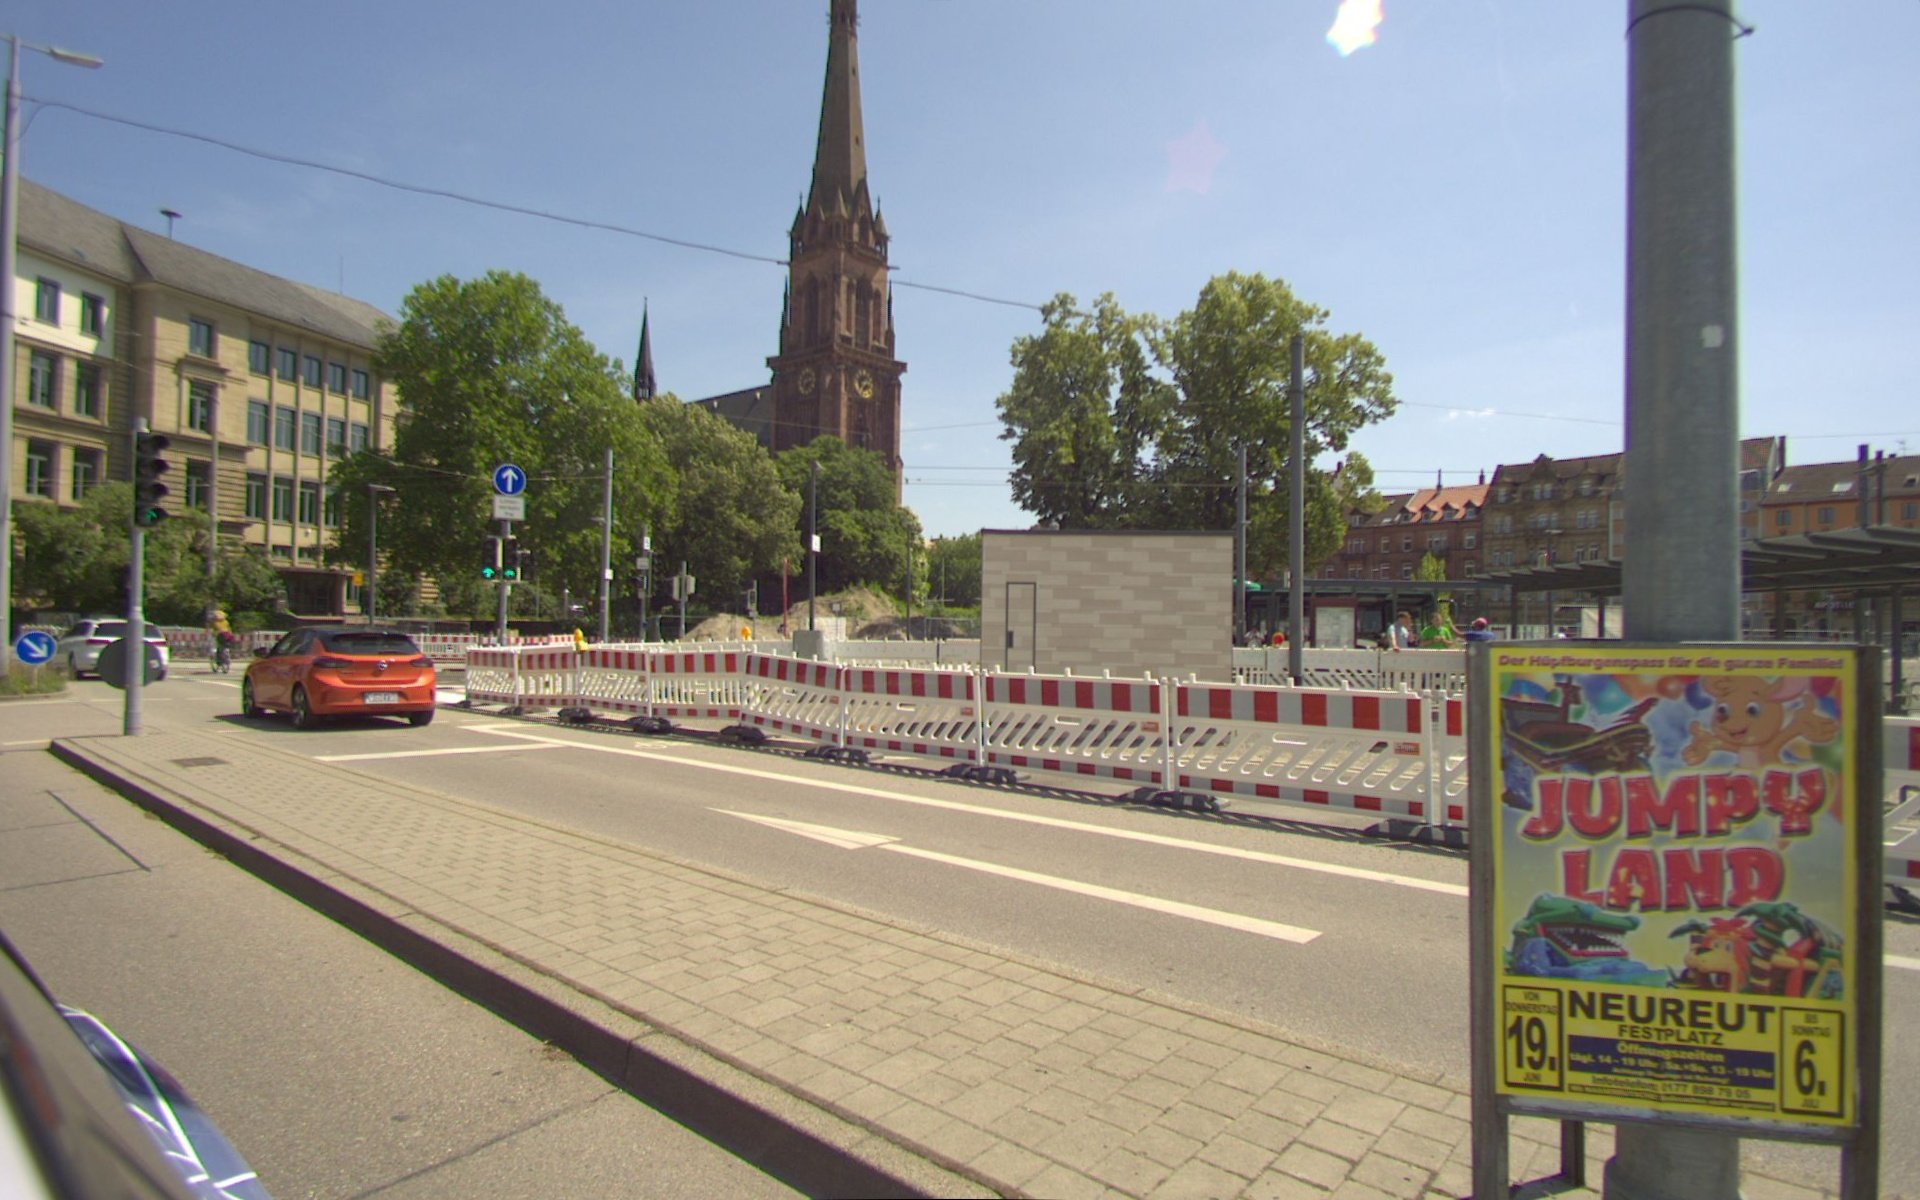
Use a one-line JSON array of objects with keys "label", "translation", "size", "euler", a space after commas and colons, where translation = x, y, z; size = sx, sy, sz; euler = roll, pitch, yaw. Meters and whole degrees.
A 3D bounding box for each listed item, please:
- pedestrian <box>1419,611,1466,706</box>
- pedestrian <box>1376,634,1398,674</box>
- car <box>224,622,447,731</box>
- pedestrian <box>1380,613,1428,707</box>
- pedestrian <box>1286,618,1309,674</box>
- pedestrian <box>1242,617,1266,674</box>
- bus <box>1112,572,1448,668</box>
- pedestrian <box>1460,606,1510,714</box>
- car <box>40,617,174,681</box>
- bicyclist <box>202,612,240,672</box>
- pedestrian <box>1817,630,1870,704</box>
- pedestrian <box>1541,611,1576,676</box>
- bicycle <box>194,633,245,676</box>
[{"label": "pedestrian", "translation": [9.399, 1.130, 19.739], "size": [0.630, 1.802, 0.644], "euler": [-1, 0, 5]}, {"label": "pedestrian", "translation": [12.579, 1.584, 29.795], "size": [0.424, 1.130, 0.514], "euler": [0, 0, 2]}, {"label": "car", "translation": [-9.399, 1.070, 15.114], "size": [4.012, 1.388, 1.670], "euler": [-1, -4, 41]}, {"label": "pedestrian", "translation": [8.598, 1.148, 19.608], "size": [0.649, 1.769, 0.541], "euler": [0, 0, -4]}, {"label": "pedestrian", "translation": [10.071, 1.372, 30.206], "size": [0.513, 1.632, 0.537], "euler": [0, 0, 2]}, {"label": "pedestrian", "translation": [8.816, 1.354, 30.381], "size": [0.539, 1.667, 0.626], "euler": [0, 0, 2]}, {"label": "bus", "translation": [10.513, 0.688, 34.382], "size": [10.477, 3.076, 2.849], "euler": [-1, 0, 8]}, {"label": "pedestrian", "translation": [9.589, 1.079, 18.499], "size": [0.569, 1.920, 0.692], "euler": [-1, 0, 5]}, {"label": "car", "translation": [-21.060, 1.193, 24.932], "size": [4.424, 1.439, 1.797], "euler": [-1, -4, 41]}, {"label": "bicyclist", "translation": [-20.842, 1.180, 28.541], "size": [0.798, 1.678, 0.580], "euler": [-1, -4, 38]}, {"label": "pedestrian", "translation": [24.748, 1.855, 28.360], "size": [0.869, 2.029, 0.694], "euler": [-1, 0, 10]}, {"label": "pedestrian", "translation": [17.481, 1.265, 29.556], "size": [0.598, 1.871, 0.699], "euler": [0, 0, 2]}, {"label": "bicycle", "translation": [-20.894, 1.526, 28.557], "size": [2.007, 1.159, 0.582], "euler": [-1, -4, 38]}]
